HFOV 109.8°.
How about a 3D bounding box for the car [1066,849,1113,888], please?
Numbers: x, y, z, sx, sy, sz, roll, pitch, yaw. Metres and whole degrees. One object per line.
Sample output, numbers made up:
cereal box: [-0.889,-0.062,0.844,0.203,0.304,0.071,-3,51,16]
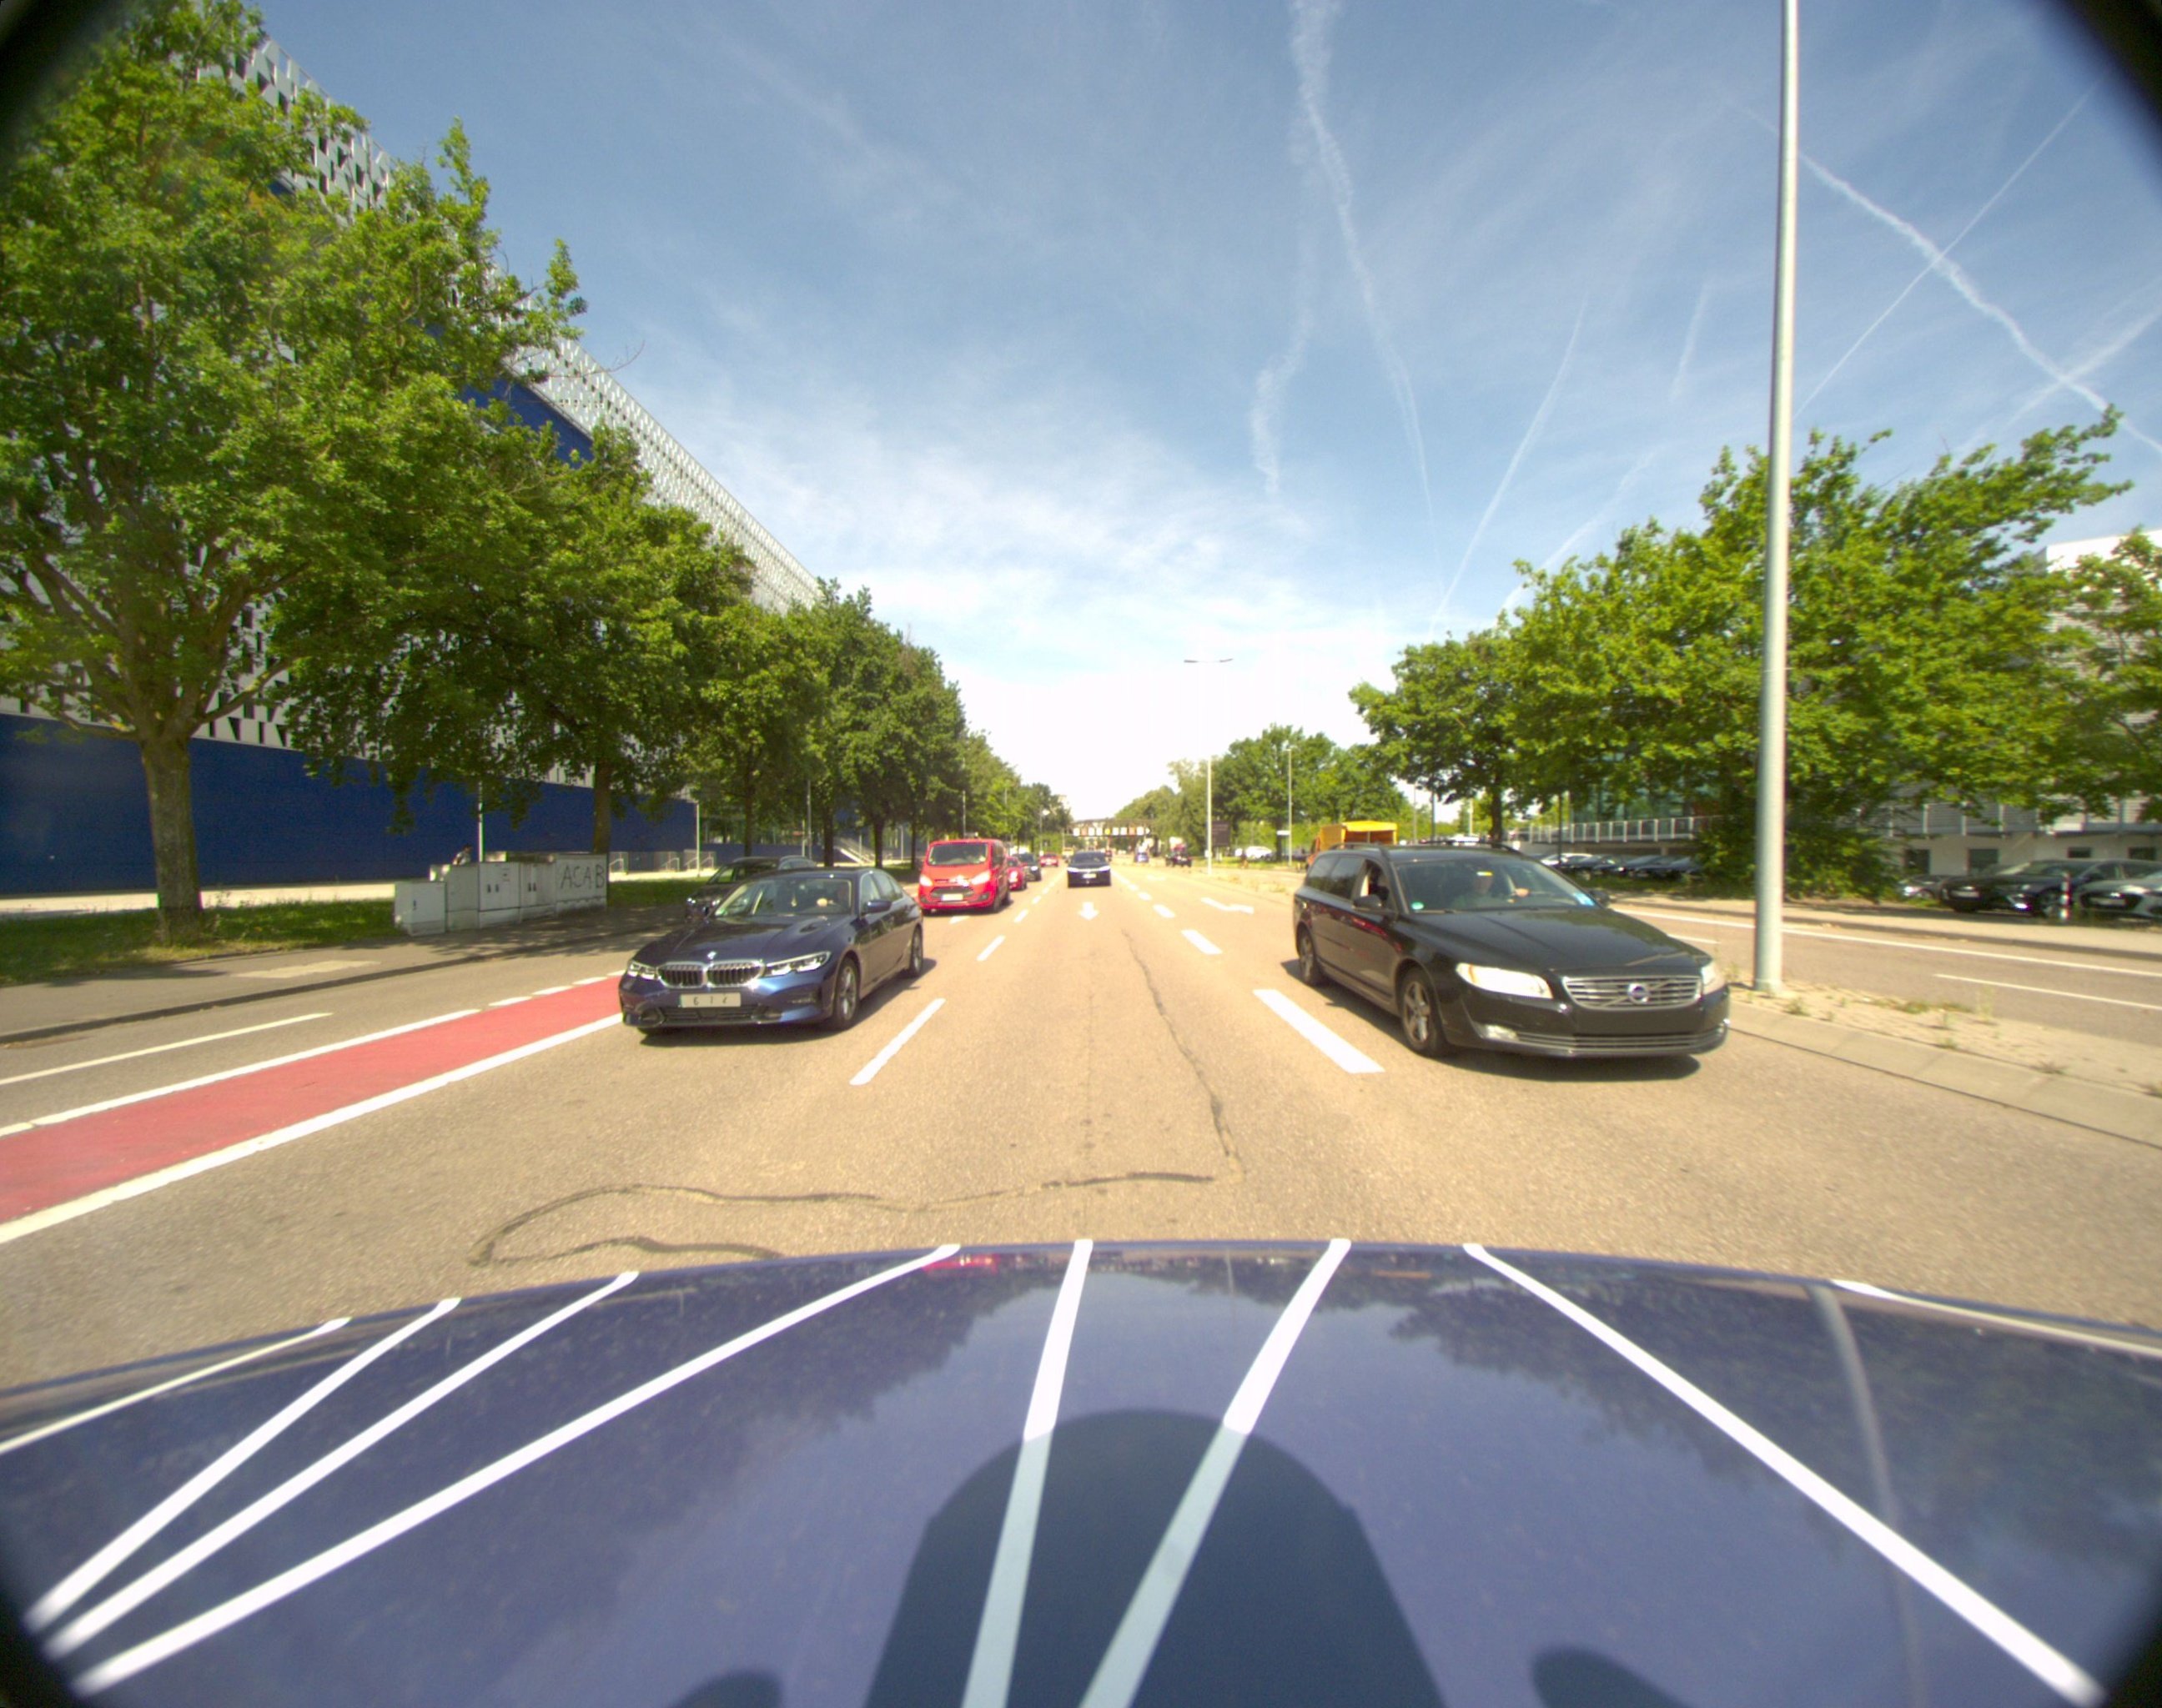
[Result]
car: [0.353,0.582,33.400,1.848,1.531,3.999,-3,1,0]

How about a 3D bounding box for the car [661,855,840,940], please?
car: [-7.691,0.936,18.264,1.998,1.646,4.392,-2,1,5]

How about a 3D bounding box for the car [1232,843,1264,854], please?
car: [24.061,-0.757,109.259,4.196,1.371,1.690,2,1,2]

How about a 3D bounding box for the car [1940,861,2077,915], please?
car: [26.010,0.890,21.450,1.685,1.325,3.848,0,0,39]

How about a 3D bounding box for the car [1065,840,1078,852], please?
car: [-1.668,-1.413,132.947,1.998,2.002,3.999,-3,2,0]

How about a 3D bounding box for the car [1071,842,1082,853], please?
car: [-0.851,-1.226,151.066,1.998,2.002,3.999,-3,2,0]

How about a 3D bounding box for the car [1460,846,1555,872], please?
car: [23.565,0.274,42.078,4.196,1.247,1.690,2,1,2]

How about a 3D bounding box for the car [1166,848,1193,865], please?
car: [9.381,0.223,72.721,1.851,1.451,4.663,2,1,-1]

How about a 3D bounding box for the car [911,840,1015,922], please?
car: [-3.041,0.626,20.672,2.014,1.896,4.809,-2,1,0]

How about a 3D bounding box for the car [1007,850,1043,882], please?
car: [-2.983,0.610,41.216,1.649,1.531,3.999,-3,1,-1]

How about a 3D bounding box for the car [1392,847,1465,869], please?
car: [23.991,0.292,52.502,4.196,1.317,1.690,2,1,2]

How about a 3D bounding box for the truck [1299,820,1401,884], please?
truck: [12.011,-0.114,34.590,2.381,2.609,6.672,0,0,1]

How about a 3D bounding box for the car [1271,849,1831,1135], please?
car: [3.210,0.749,6.631,1.882,1.513,4.868,-2,1,1]

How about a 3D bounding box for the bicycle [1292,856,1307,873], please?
bicycle: [14.569,0.685,50.714,0.572,1.143,1.925,0,1,3]

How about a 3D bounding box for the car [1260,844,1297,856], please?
car: [24.900,-0.472,96.034,4.196,1.315,1.690,2,1,2]

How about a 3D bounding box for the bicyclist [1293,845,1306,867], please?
bicyclist: [14.561,0.126,50.574,0.571,1.474,1.143,0,1,3]

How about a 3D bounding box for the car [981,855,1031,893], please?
car: [-3.052,0.783,31.554,1.692,1.414,3.915,-2,1,-1]

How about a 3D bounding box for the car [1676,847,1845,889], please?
car: [23.535,0.471,26.439,4.196,1.220,1.797,2,1,2]

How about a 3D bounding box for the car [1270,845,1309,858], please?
car: [24.917,-0.340,90.745,4.196,1.315,1.690,2,1,2]

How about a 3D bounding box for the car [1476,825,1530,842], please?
car: [40.899,-1.955,73.652,4.196,1.490,1.690,2,1,2]

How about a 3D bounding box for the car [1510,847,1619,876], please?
car: [23.544,0.367,37.099,4.196,1.188,1.690,2,1,2]

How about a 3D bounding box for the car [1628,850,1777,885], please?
car: [23.624,0.498,28.988,4.196,1.128,1.695,2,1,2]

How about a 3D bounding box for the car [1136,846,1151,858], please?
car: [8.225,-0.281,100.141,1.732,1.430,3.869,1,1,1]

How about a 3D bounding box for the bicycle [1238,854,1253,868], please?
bicycle: [13.644,0.551,62.979,0.573,1.143,1.768,1,1,-9]

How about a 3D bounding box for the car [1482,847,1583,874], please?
car: [23.448,0.331,39.554,4.196,1.198,1.690,2,1,2]

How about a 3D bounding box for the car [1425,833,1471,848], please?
car: [40.498,-1.500,83.842,4.196,1.490,1.690,2,1,2]

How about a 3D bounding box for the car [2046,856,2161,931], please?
car: [22.489,0.838,15.119,4.226,1.387,1.802,2,1,0]

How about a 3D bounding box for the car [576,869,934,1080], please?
car: [-2.924,0.965,8.070,1.800,1.421,4.537,-2,1,0]

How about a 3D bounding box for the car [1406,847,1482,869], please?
car: [23.895,0.227,50.096,4.196,1.248,1.690,2,1,2]

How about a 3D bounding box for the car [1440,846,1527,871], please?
car: [23.671,0.263,44.774,4.196,1.252,1.690,2,1,2]

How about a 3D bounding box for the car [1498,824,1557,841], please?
car: [40.095,-1.930,68.298,4.196,1.397,1.690,2,1,2]

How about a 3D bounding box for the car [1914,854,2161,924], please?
car: [22.576,0.788,17.835,4.035,1.394,1.809,2,1,-1]

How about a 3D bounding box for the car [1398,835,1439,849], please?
car: [40.838,-1.500,91.991,4.196,1.490,1.690,2,1,2]

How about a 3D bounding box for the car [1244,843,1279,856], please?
car: [24.068,-0.638,101.475,4.196,1.490,1.690,2,1,2]

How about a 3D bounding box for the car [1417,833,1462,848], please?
car: [40.599,-1.488,86.132,4.196,1.490,1.690,2,1,2]

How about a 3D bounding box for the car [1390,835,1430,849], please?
car: [41.000,-1.487,94.836,4.196,1.490,1.690,2,1,2]

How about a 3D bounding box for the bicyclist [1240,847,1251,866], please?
bicyclist: [13.636,0.221,62.887,0.578,1.587,0.909,1,1,-9]

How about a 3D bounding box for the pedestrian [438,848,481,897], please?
pedestrian: [-19.568,0.575,23.937,0.680,1.537,0.780,0,1,1]

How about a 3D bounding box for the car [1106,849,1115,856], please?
car: [5.979,-0.318,154.713,1.866,1.503,4.001,0,0,3]

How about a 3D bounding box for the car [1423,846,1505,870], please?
car: [23.821,0.218,47.408,4.196,1.292,1.690,2,1,2]

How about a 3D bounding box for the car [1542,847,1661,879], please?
car: [23.624,0.408,34.602,4.196,1.239,1.690,2,1,2]

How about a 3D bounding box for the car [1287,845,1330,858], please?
car: [24.796,-0.274,82.977,4.196,1.315,1.690,2,1,2]

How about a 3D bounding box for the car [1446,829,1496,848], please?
car: [40.468,-1.602,78.848,4.196,1.722,1.690,2,1,2]

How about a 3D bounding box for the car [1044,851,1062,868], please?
car: [-2.803,0.493,76.039,1.649,1.531,3.999,-3,1,-1]

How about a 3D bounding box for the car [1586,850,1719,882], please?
car: [23.788,0.495,31.743,4.196,1.116,1.719,2,1,2]
